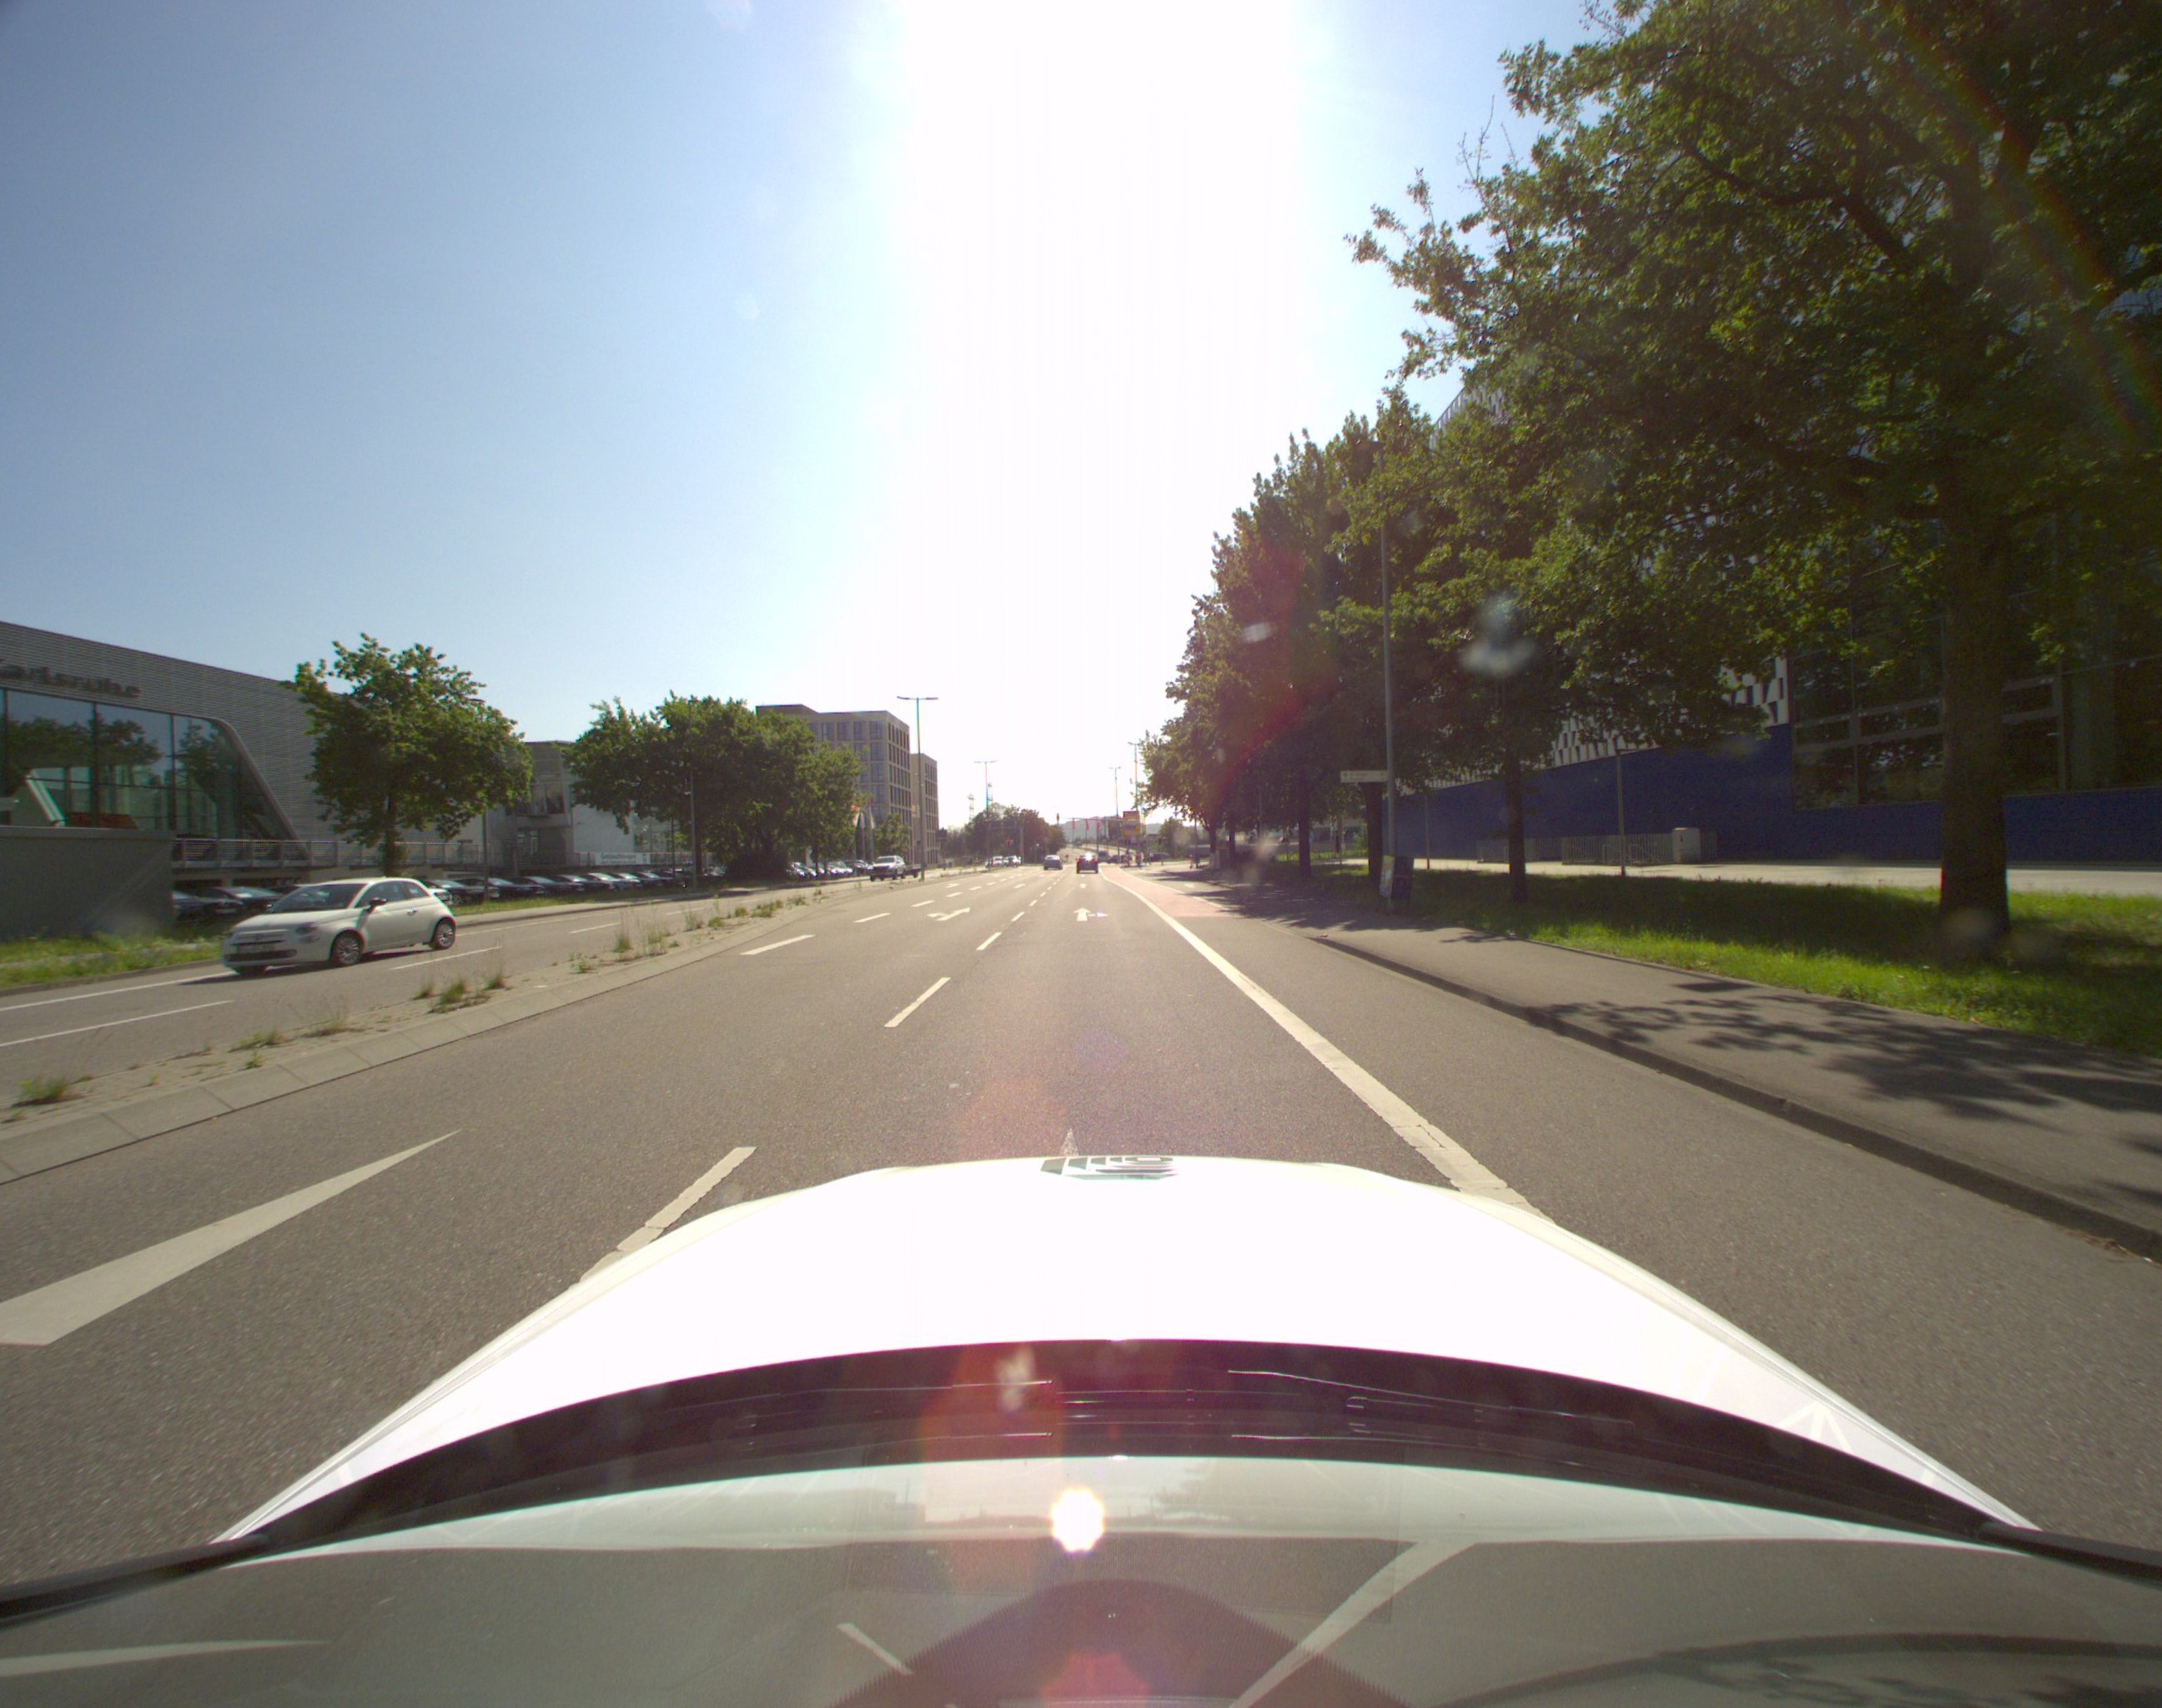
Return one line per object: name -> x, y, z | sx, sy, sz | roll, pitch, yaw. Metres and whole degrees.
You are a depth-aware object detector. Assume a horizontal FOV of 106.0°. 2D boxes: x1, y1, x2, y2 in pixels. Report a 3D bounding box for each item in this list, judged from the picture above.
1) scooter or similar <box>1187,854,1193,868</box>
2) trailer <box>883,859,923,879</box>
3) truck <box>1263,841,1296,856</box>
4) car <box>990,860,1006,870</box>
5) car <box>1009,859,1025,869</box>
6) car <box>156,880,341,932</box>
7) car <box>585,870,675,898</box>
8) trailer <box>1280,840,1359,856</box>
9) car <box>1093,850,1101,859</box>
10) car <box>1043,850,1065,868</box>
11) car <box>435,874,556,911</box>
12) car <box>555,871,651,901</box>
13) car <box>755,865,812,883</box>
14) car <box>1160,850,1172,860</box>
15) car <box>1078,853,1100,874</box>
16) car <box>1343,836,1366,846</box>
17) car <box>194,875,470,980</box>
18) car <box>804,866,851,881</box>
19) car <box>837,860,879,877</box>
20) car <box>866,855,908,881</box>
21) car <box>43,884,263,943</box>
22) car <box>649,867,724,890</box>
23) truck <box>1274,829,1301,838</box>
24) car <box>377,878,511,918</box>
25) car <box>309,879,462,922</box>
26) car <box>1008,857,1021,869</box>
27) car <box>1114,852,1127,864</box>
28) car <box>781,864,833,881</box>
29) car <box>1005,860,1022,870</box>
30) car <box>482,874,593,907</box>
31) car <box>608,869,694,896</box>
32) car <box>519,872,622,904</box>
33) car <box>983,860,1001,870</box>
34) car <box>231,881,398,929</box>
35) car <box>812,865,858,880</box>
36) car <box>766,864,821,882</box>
scooter or similar -> 10.047, 0.620, 75.045 | 0.348, 1.233, 1.316 | -3, 0, 14
trailer -> -14.485, 1.204, 66.517 | 1.988, 1.453, 5.769 | -2, 0, -1
truck -> 31.414, -0.915, 129.133 | 4.859, 2.423, 2.002 | 0, 1, 3
car -> -13.531, 1.745, 133.273 | 1.807, 1.464, 4.006 | -3, 0, 5
car -> -10.553, 1.594, 134.080 | 1.807, 1.464, 4.006 | -3, 0, 5
car -> -26.577, 1.644, 26.111 | 3.973, 1.376, 1.866 | -2, 0, 1
car -> -25.561, 1.699, 46.222 | 3.973, 1.376, 1.925 | -2, 0, 1
trailer -> 37.667, -0.922, 128.850 | 11.821, 2.469, 2.002 | 0, 1, 3
car -> 3.884, 0.137, 194.773 | 1.986, 2.013, 3.983 | 0, 1, 1
car -> -2.799, 0.515, 85.100 | 1.986, 1.684, 4.002 | -2, 0, 2
car -> -26.091, 1.705, 36.376 | 3.973, 1.376, 1.925 | -2, 0, 1
car -> -25.743, 1.711, 43.931 | 3.973, 1.376, 1.925 | -2, 0, 1
car -> -25.076, 1.692, 68.805 | 3.974, 1.343, 2.000 | -2, 0, 0
car -> 12.867, 0.154, 123.358 | 1.682, 1.359, 4.003 | 0, 1, 3
car -> 0.720, 0.798, 70.188 | 1.801, 1.640, 4.459 | -2, 0, 1
car -> 53.588, -2.537, 159.662 | 3.975, 2.013, 2.000 | 0, 1, -1
car -> -13.169, 1.201, 14.654 | 1.649, 1.464, 3.548 | -4, 0, -2
car -> -24.739, 1.893, 79.566 | 3.974, 1.343, 2.000 | -2, 0, 0
car -> -29.615, 1.881, 108.108 | 4.895, 2.050, 2.001 | -2, 0, 2
car -> -14.470, 1.030, 61.115 | 1.988, 1.832, 4.935 | -2, 0, -1
car -> -26.488, 1.666, 23.352 | 3.973, 1.376, 2.000 | -2, 0, 1
car -> -26.152, 1.615, 54.105 | 3.973, 1.376, 1.925 | -2, 0, 1
truck -> 48.222, -4.855, 190.076 | 5.885, 2.013, 2.002 | 0, 1, 3
car -> -26.254, 1.787, 33.666 | 3.973, 1.376, 1.925 | -2, 0, 1
car -> -26.432, 1.742, 31.067 | 4.027, 1.376, 2.026 | -2, 0, 1
car -> -7.830, 1.022, 96.099 | 1.210, 1.331, 2.802 | 0, 1, 3
car -> 5.986, 0.618, 123.167 | 1.753, 1.758, 3.600 | 0, 1, -2
car -> -24.923, 1.647, 74.104 | 3.976, 1.343, 1.999 | -2, 0, -2
car -> -10.514, 1.713, 127.104 | 1.807, 1.464, 4.006 | -3, 0, 5
car -> -25.967, 1.728, 38.988 | 3.973, 1.376, 1.925 | -2, 0, 1
car -> -25.502, 1.667, 48.382 | 3.973, 1.376, 1.925 | -2, 0, 1
car -> -25.891, 1.722, 41.388 | 3.973, 1.376, 1.925 | -2, 0, 1
car -> -13.702, 1.736, 125.950 | 1.882, 1.464, 4.006 | -3, 0, 5
car -> -26.459, 1.732, 28.206 | 3.973, 1.376, 1.866 | -2, 0, 1
car -> -24.734, 1.867, 81.956 | 3.974, 1.343, 2.000 | -2, 0, 0
car -> -25.080, 1.679, 71.116 | 3.974, 1.343, 2.000 | -2, 0, 0
